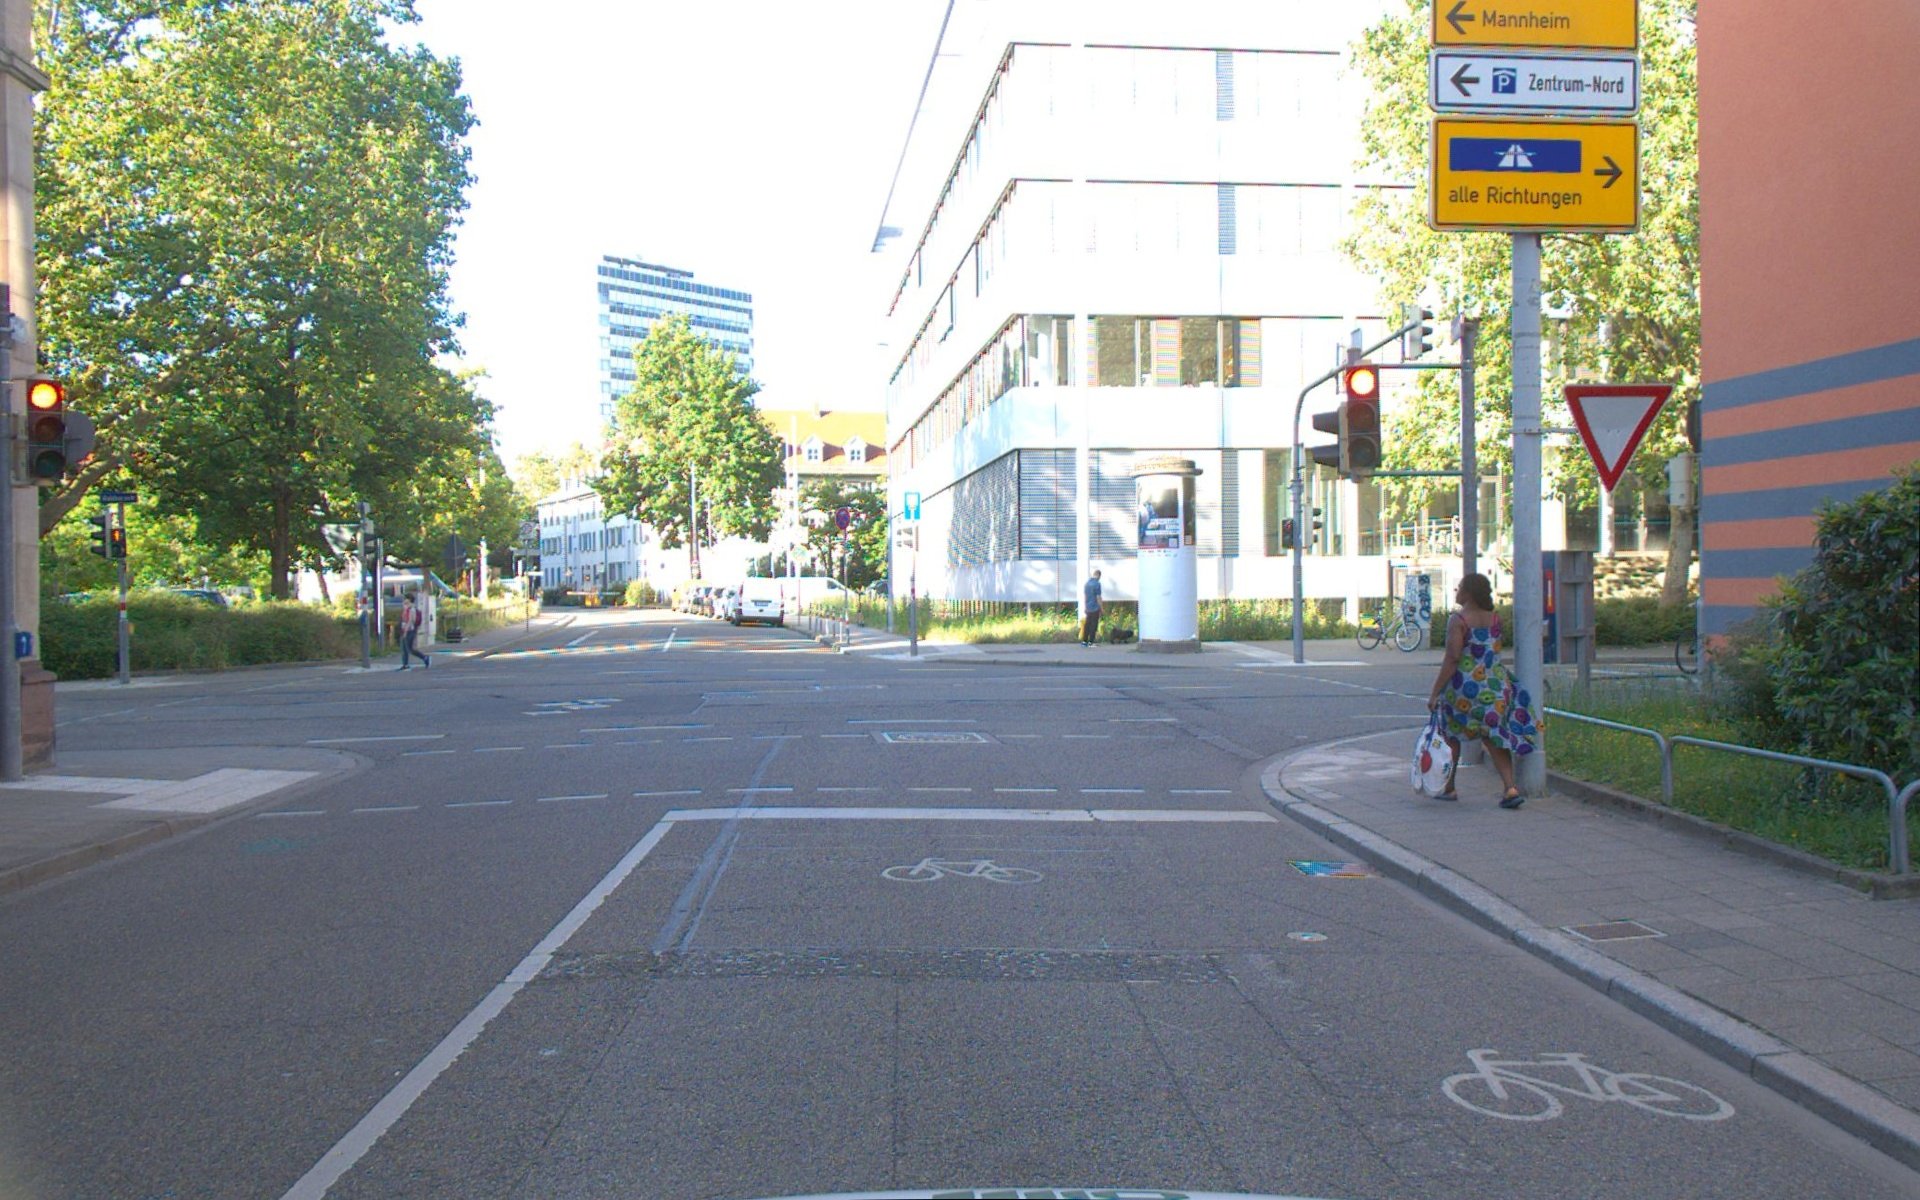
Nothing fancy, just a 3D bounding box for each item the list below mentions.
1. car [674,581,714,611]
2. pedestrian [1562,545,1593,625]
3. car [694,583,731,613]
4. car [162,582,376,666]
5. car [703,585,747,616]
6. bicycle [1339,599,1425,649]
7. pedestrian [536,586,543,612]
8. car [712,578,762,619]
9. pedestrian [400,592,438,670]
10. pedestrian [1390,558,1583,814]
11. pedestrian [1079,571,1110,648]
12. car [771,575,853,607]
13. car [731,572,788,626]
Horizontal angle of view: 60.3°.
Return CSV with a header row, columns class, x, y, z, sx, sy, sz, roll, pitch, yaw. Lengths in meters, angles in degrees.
class,x,y,z,sx,sy,sz,roll,pitch,yaw
car,-15.375,-0.251,95.428,2.063,1.687,4.463,-1,1,-11
pedestrian,14.636,-0.352,39.195,0.526,1.863,1.042,-1,0,12
car,-12.846,-0.122,85.643,1.674,1.490,4.226,-1,1,-11
car,-15.758,0.522,37.906,4.146,1.808,1.901,-1,0,-9
car,-11.548,0.018,81.109,1.675,1.449,4.223,-1,1,-14
bicycle,9.230,0.510,36.251,0.460,1.067,1.886,-1,0,-42
pedestrian,-25.766,-0.070,101.366,0.373,1.561,0.444,-1,0,-13
car,-10.327,-0.072,76.308,1.913,1.826,4.224,-1,1,-13
pedestrian,-11.463,0.650,35.021,0.702,1.627,0.613,-1,0,-22
pedestrian,3.532,0.554,11.156,0.936,1.600,0.749,-4,0,-5
pedestrian,3.152,0.212,38.748,0.638,1.766,0.813,-1,0,10
car,-9.183,-0.540,102.673,4.804,1.905,1.990,0,-1,-17
car,-7.857,-0.046,64.523,2.029,1.997,4.229,-1,0,-9
